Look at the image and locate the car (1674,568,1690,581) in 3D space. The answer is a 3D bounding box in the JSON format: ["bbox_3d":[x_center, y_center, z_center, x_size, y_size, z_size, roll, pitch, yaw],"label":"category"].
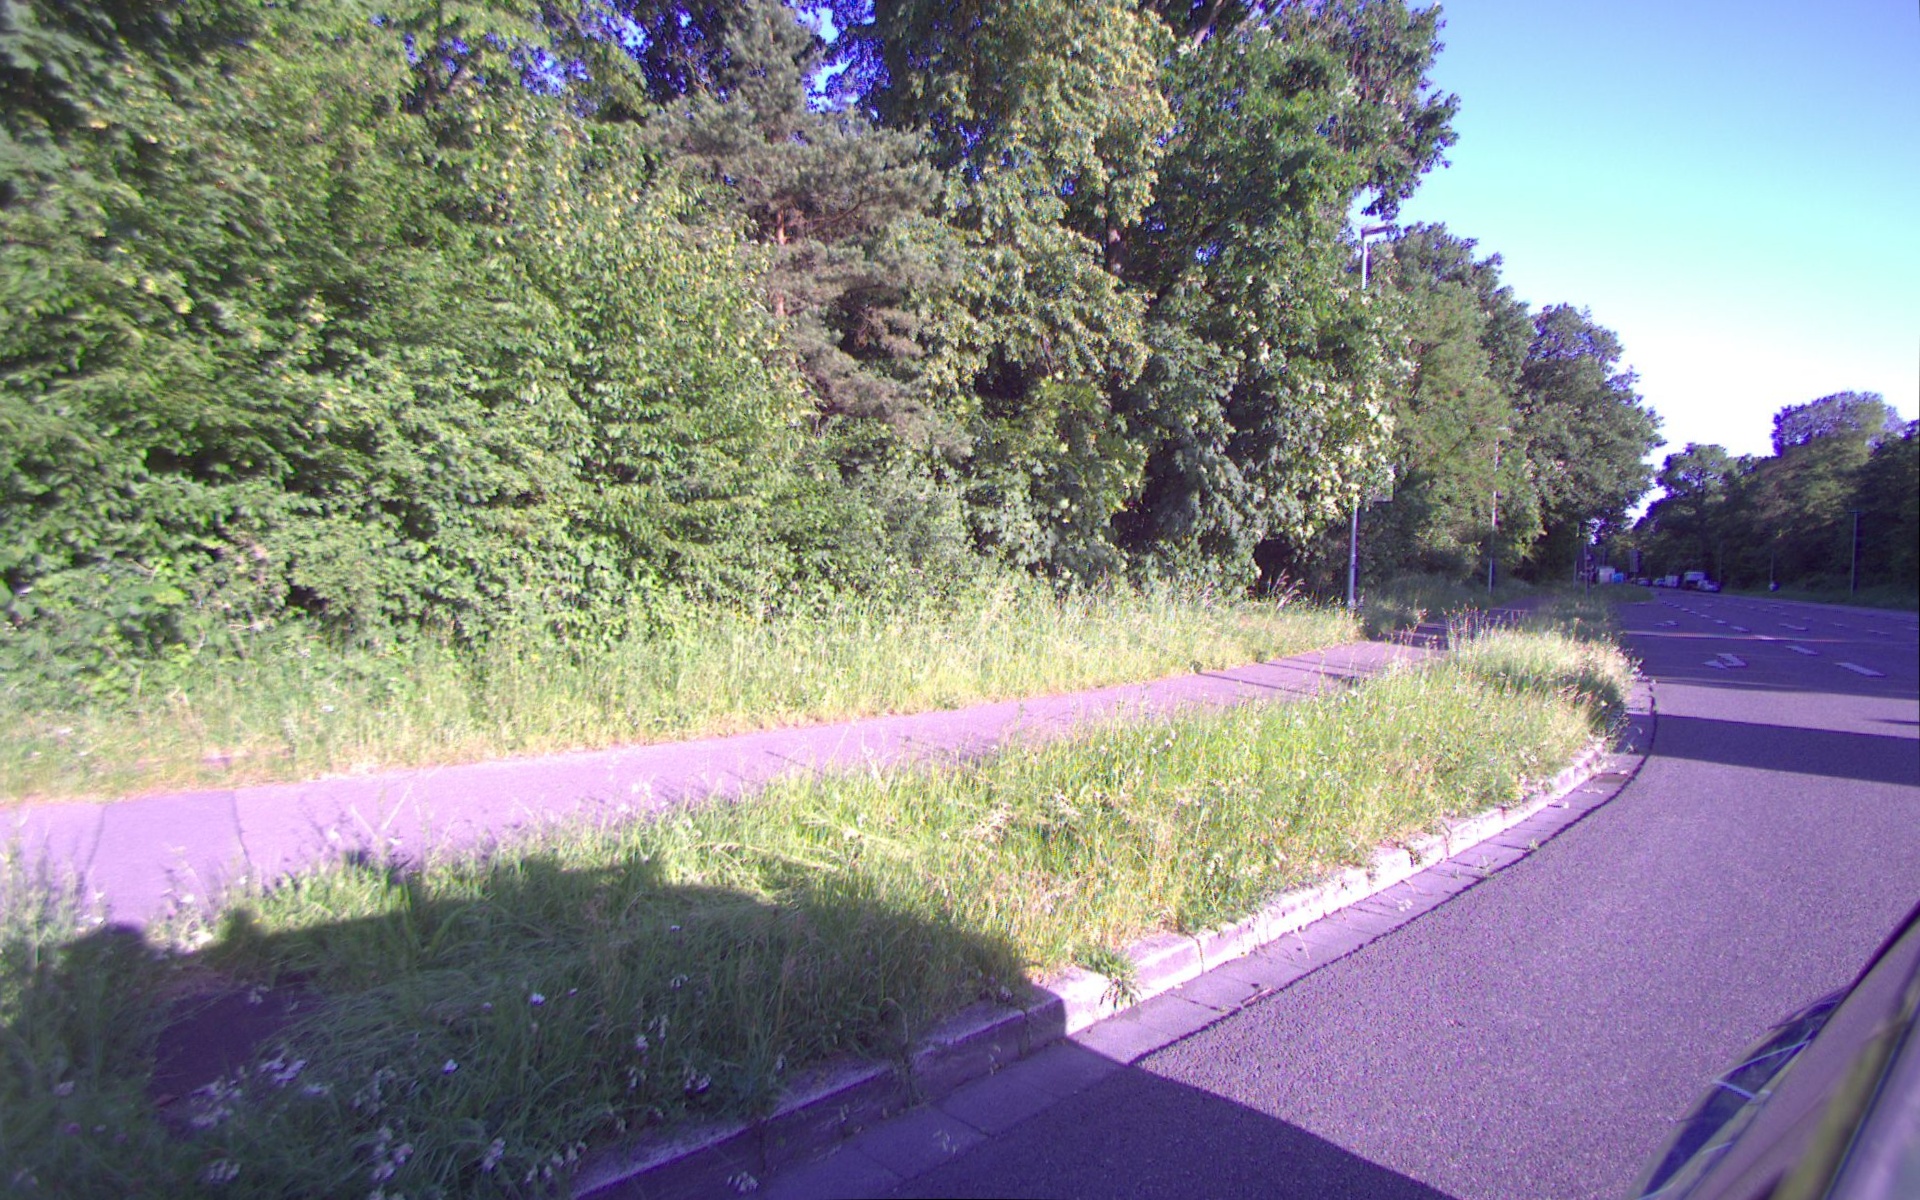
[{"bbox_3d":[125.160,-4.427,175.498,1.678,2.126,4.586,4,4,29],"label":"car"}]

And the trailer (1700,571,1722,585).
[{"bbox_3d":[102.549,-3.002,138.187,1.792,1.750,3.611,4,4,29],"label":"trailer"}]

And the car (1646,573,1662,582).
[{"bbox_3d":[121.845,-3.898,177.712,1.818,1.473,4.437,3,3,28],"label":"car"}]

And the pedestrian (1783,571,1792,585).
[{"bbox_3d":[97.888,-2.646,119.702,0.709,1.584,0.816,4,3,33],"label":"pedestrian"}]

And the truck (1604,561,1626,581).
[{"bbox_3d":[97.498,-4.274,150.710,2.370,2.907,5.542,0,2,29],"label":"truck"}]

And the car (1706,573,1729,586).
[{"bbox_3d":[100.147,-2.736,133.842,1.900,1.481,3.972,4,4,29],"label":"car"}]

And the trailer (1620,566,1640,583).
[{"bbox_3d":[89.483,-3.460,135.135,1.854,2.204,4.088,1,2,29],"label":"trailer"}]

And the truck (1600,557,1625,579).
[{"bbox_3d":[102.308,-5.027,158.741,2.685,3.276,7.057,4,4,29],"label":"truck"}]

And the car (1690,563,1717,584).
[{"bbox_3d":[109.066,-3.978,148.466,2.441,2.881,4.751,4,4,29],"label":"car"}]

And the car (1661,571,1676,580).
[{"bbox_3d":[130.651,-4.581,186.689,1.792,1.523,3.873,4,4,29],"label":"car"}]
